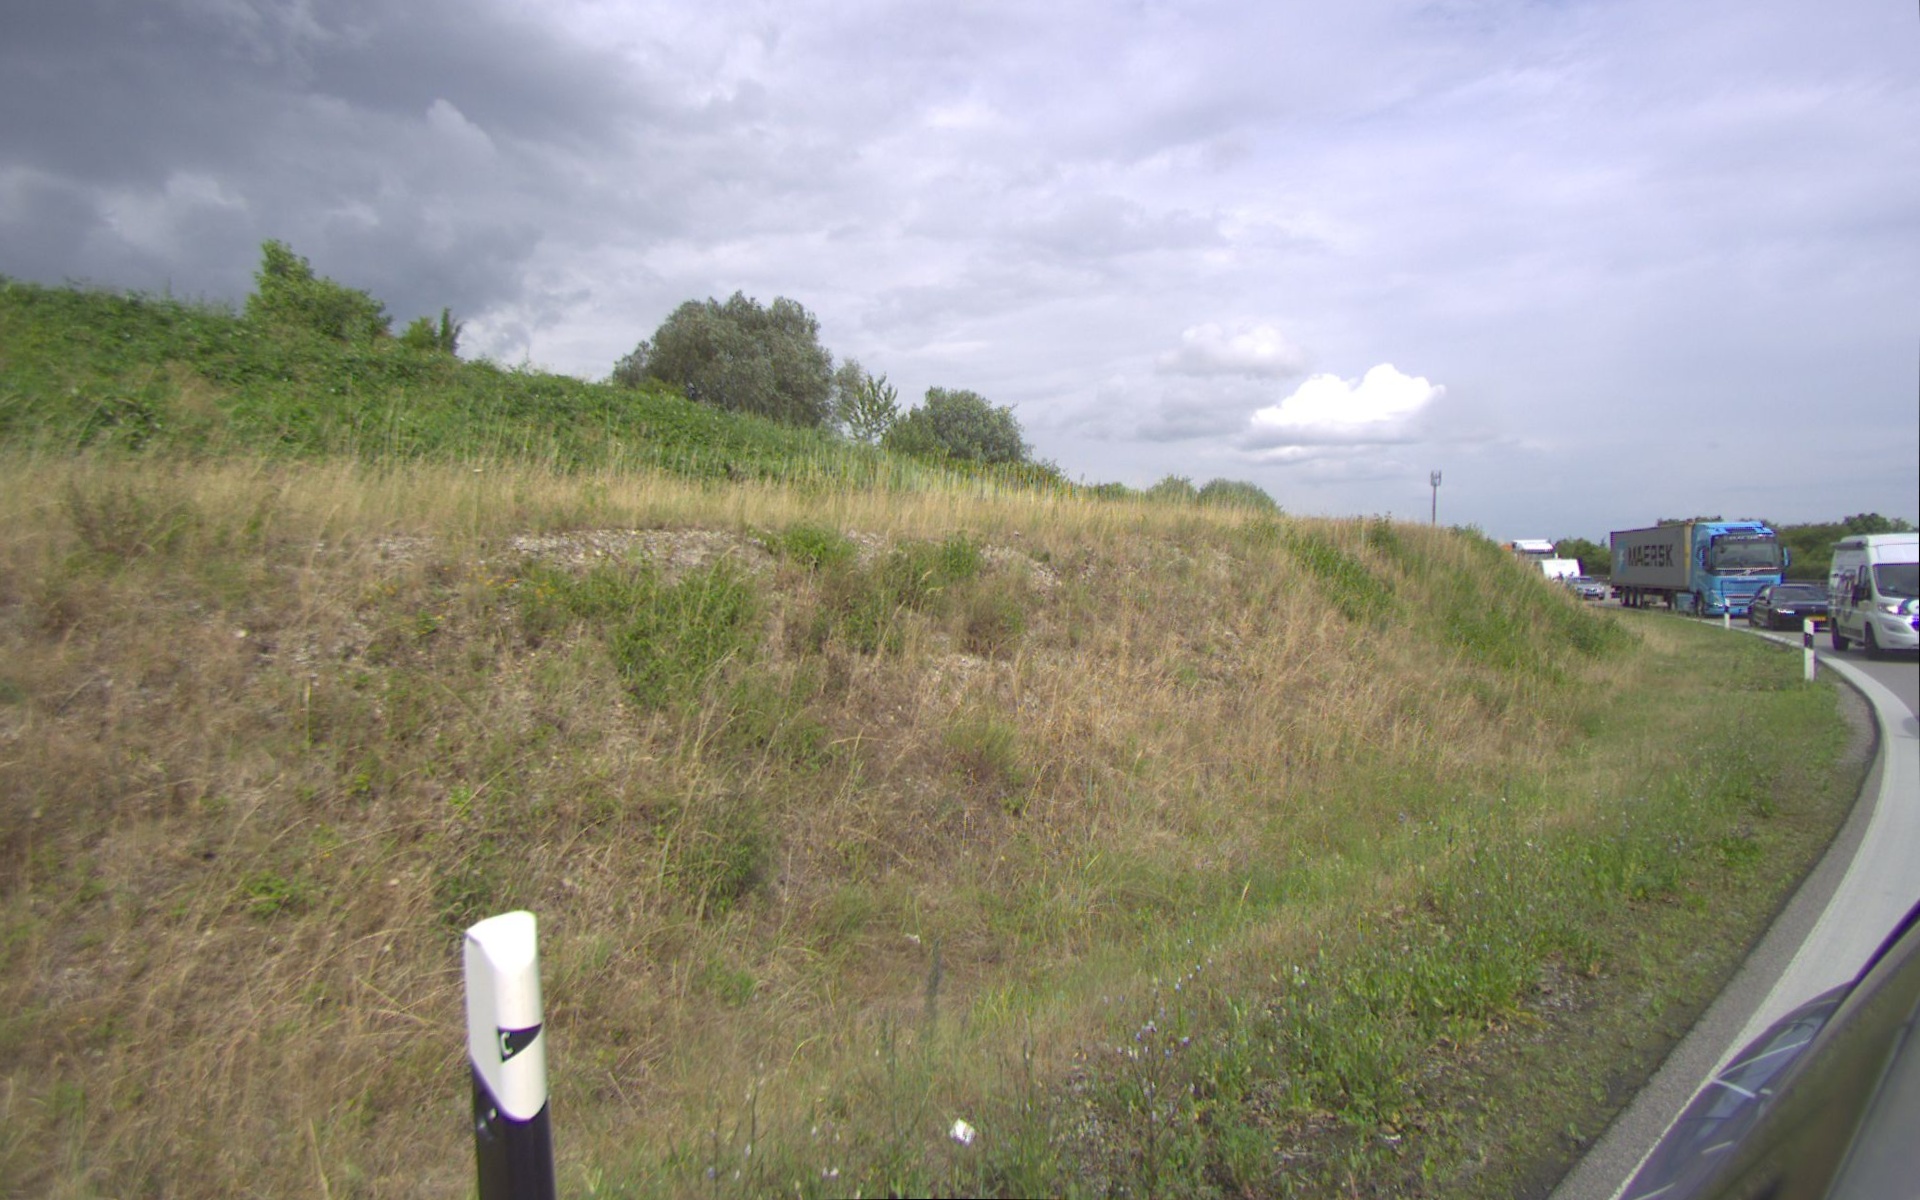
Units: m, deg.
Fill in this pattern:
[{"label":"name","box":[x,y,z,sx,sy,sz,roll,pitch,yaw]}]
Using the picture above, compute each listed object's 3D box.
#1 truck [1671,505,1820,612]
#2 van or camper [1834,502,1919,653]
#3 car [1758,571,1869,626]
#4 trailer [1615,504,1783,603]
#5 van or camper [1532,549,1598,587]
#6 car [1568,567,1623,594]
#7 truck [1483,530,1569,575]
[{"label":"truck","box":[32.858,-1.647,42.687,3.142,4.124,6.600,0,0,21]},{"label":"van or camper","box":[20.961,-0.468,21.796,2.381,2.945,5.654,0,0,32]},{"label":"car","box":[27.548,-0.115,32.818,1.983,1.638,3.960,1,2,29]},{"label":"trailer","box":[35.214,-2.025,48.921,3.234,4.214,11.940,0,0,19]},{"label":"van or camper","box":[40.661,-2.204,68.207,2.519,2.237,5.684,-1,4,17]},{"label":"car","box":[39.096,-1.246,62.374,1.974,1.548,3.977,0,2,19]},{"label":"truck","box":[44.155,-3.601,79.399,3.080,3.279,11.113,0,2,14]}]
